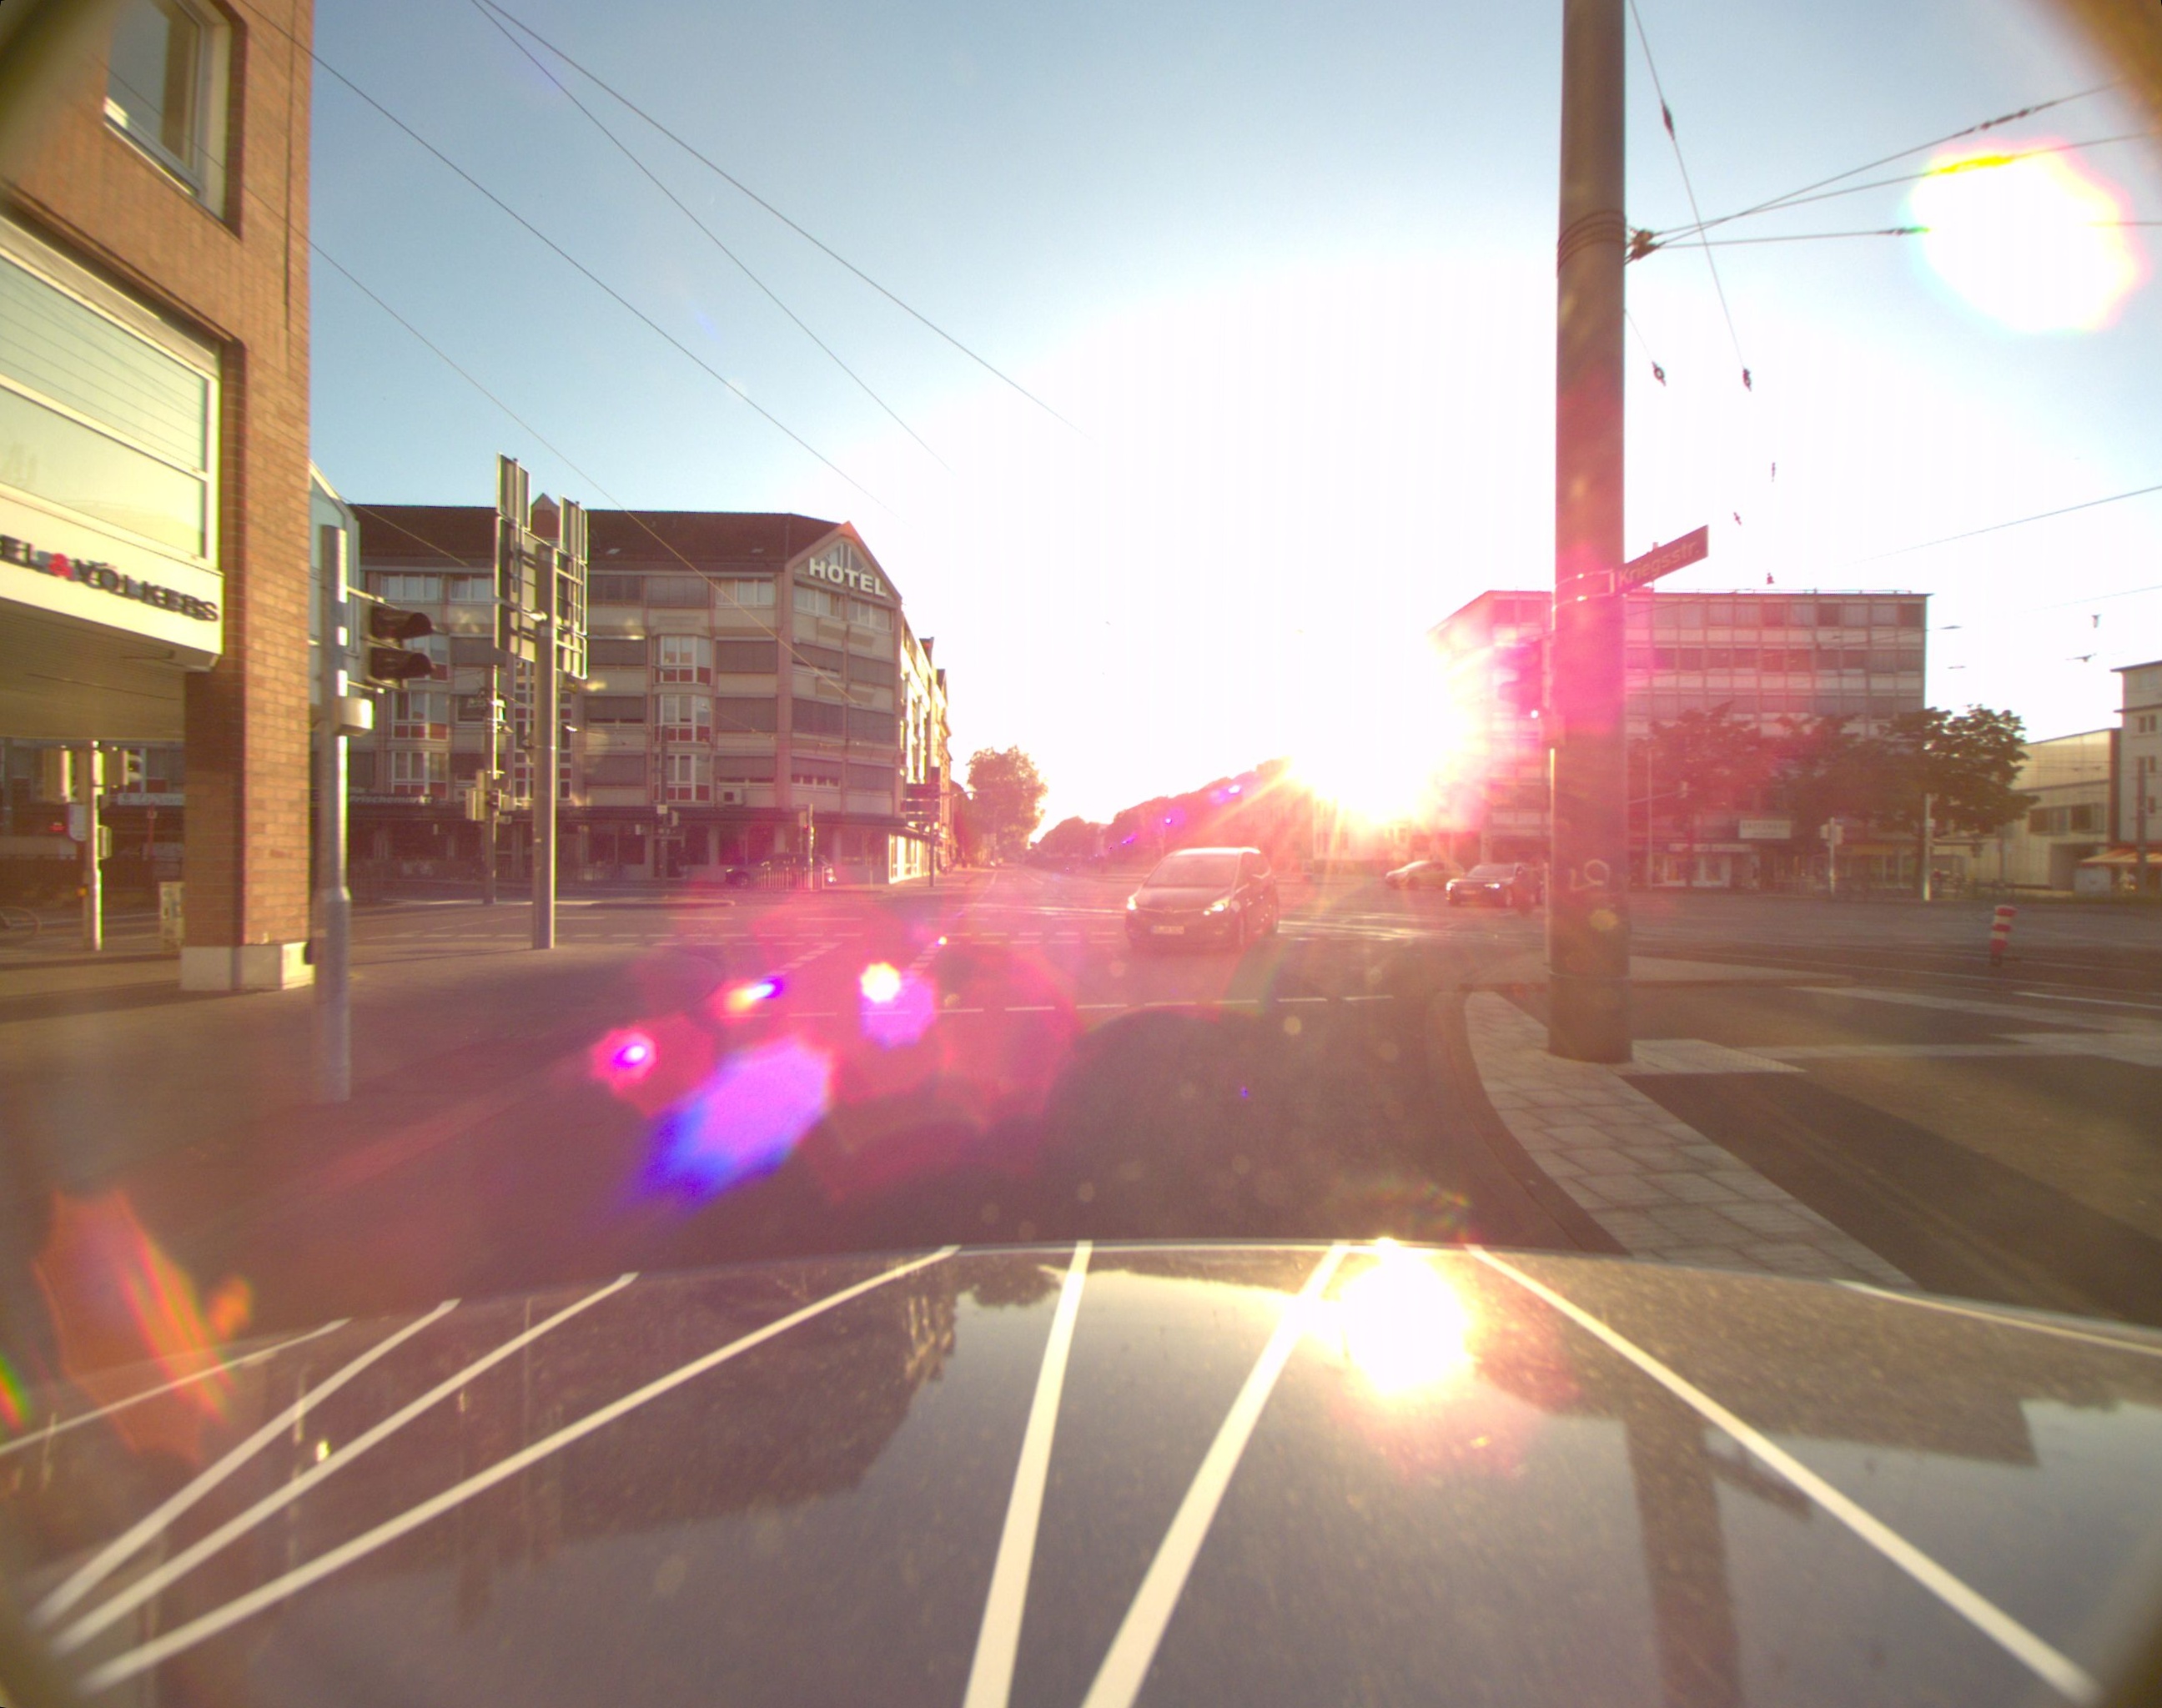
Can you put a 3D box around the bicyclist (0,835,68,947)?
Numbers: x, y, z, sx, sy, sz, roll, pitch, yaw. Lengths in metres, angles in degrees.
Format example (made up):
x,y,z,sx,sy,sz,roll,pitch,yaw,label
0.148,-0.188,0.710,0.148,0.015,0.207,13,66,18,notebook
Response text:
x,y,z,sx,sy,sz,roll,pitch,yaw,label
-18.648,0.636,12.962,1.234,1.849,1.014,0,-3,-4,bicyclist

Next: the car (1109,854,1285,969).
x,y,z,sx,sy,sz,roll,pitch,yaw,label
2.179,0.830,13.090,1.797,1.609,4.395,1,0,25,car

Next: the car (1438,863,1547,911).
x,y,z,sx,sy,sz,roll,pitch,yaw,label
13.512,1.022,24.871,4.234,1.399,1.847,1,0,-43,car

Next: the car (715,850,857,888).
x,y,z,sx,sy,sz,roll,pitch,yaw,label
-13.129,0.664,34.100,5.576,1.618,2.030,1,0,-5,car

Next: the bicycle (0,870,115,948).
x,y,z,sx,sy,sz,roll,pitch,yaw,label
-18.624,0.931,12.937,2.795,1.283,1.018,0,-3,-5,bicycle

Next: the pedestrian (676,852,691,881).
x,y,z,sx,sy,sz,roll,pitch,yaw,label
-20.142,0.630,38.482,0.471,1.484,0.478,1,1,32,pedestrian

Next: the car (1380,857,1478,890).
x,y,z,sx,sy,sz,roll,pitch,yaw,label
17.056,0.926,37.318,4.023,1.557,1.748,1,0,-7,car
